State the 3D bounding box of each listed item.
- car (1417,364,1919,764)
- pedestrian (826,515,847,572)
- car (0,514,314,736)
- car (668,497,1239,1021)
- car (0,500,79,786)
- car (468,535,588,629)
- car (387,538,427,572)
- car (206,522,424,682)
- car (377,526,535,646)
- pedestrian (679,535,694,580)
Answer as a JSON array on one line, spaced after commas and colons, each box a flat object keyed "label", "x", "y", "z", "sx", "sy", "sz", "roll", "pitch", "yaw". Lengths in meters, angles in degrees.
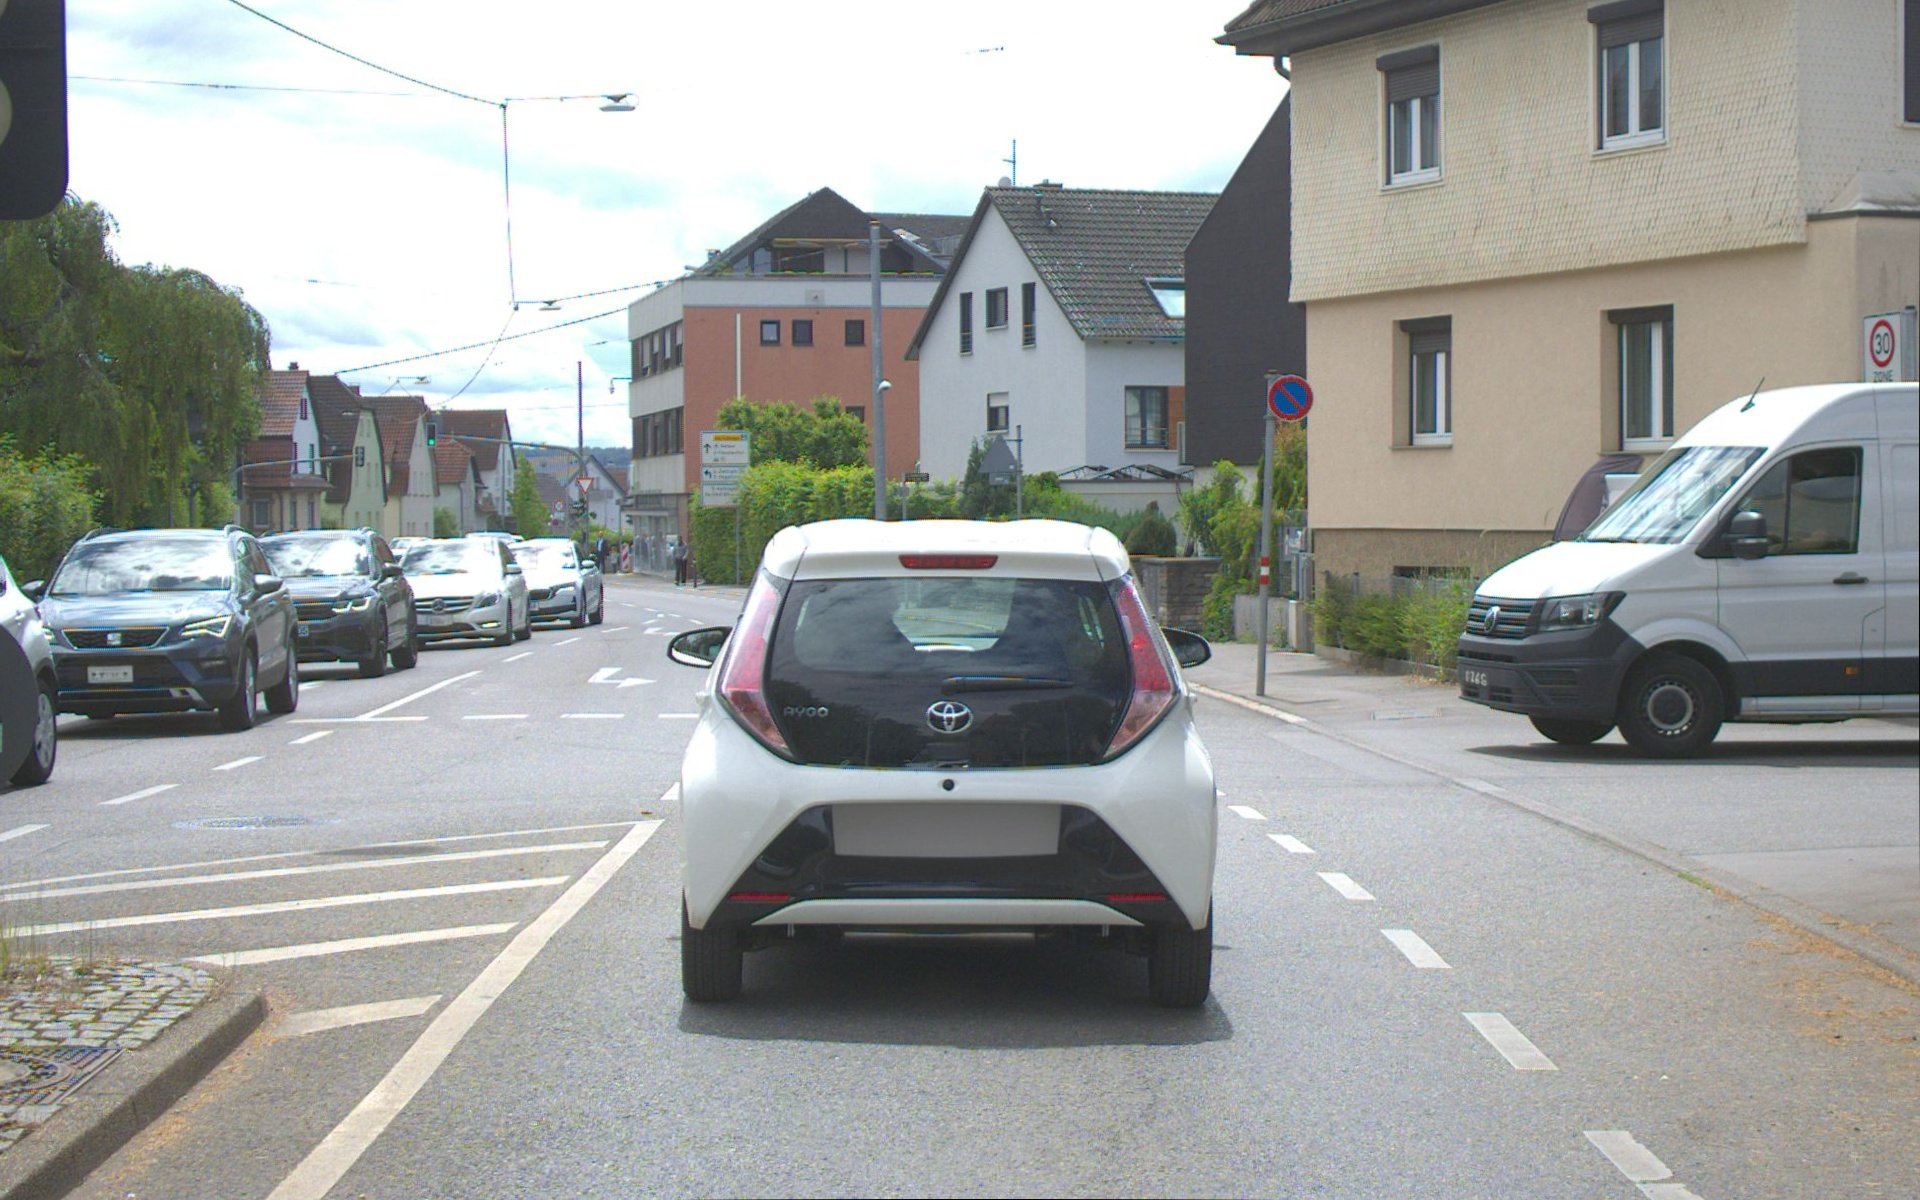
[{"label": "car", "x": 6.344, "y": -0.286, "z": 23.730, "sx": 5.994, "sy": 2.572, "sz": 2.001, "roll": 0, "pitch": 2, "yaw": -12}, {"label": "pedestrian", "x": -3.066, "y": -1.407, "z": 85.549, "sx": 0.413, "sy": 1.433, "sz": 0.438, "roll": 0, "pitch": 1, "yaw": -17}, {"label": "car", "x": -6.415, "y": 0.145, "z": 27.803, "sx": 1.775, "sy": 1.597, "sz": 4.039, "roll": -2, "pitch": 1, "yaw": -3}, {"label": "car", "x": -0.098, "y": 0.395, "z": 11.802, "sx": 1.621, "sy": 1.481, "sz": 4.001, "roll": 0, "pitch": 2, "yaw": -2}, {"label": "car", "x": -6.248, "y": 0.261, "z": 18.888, "sx": 1.775, "sy": 1.598, "sz": 4.039, "roll": -2, "pitch": 0, "yaw": 0}, {"label": "car", "x": -7.187, "y": -0.337, "z": 57.545, "sx": 1.775, "sy": 1.425, "sz": 4.523, "roll": -3, "pitch": 1, "yaw": -5}, {"label": "car", "x": -28.184, "y": -2.304, "z": 175.245, "sx": 1.993, "sy": 1.678, "sz": 4.001, "roll": 1, "pitch": 1, "yaw": -9}, {"label": "car", "x": -7.095, "y": -0.025, "z": 38.194, "sx": 1.775, "sy": 1.597, "sz": 4.170, "roll": -3, "pitch": 1, "yaw": -3}, {"label": "car", "x": -7.151, "y": -0.242, "z": 49.134, "sx": 1.775, "sy": 1.556, "sz": 4.170, "roll": -3, "pitch": 1, "yaw": -3}, {"label": "pedestrian", "x": -8.775, "y": -1.365, "z": 110.268, "sx": 0.413, "sy": 1.433, "sz": 0.438, "roll": 0, "pitch": 1, "yaw": -10}]
